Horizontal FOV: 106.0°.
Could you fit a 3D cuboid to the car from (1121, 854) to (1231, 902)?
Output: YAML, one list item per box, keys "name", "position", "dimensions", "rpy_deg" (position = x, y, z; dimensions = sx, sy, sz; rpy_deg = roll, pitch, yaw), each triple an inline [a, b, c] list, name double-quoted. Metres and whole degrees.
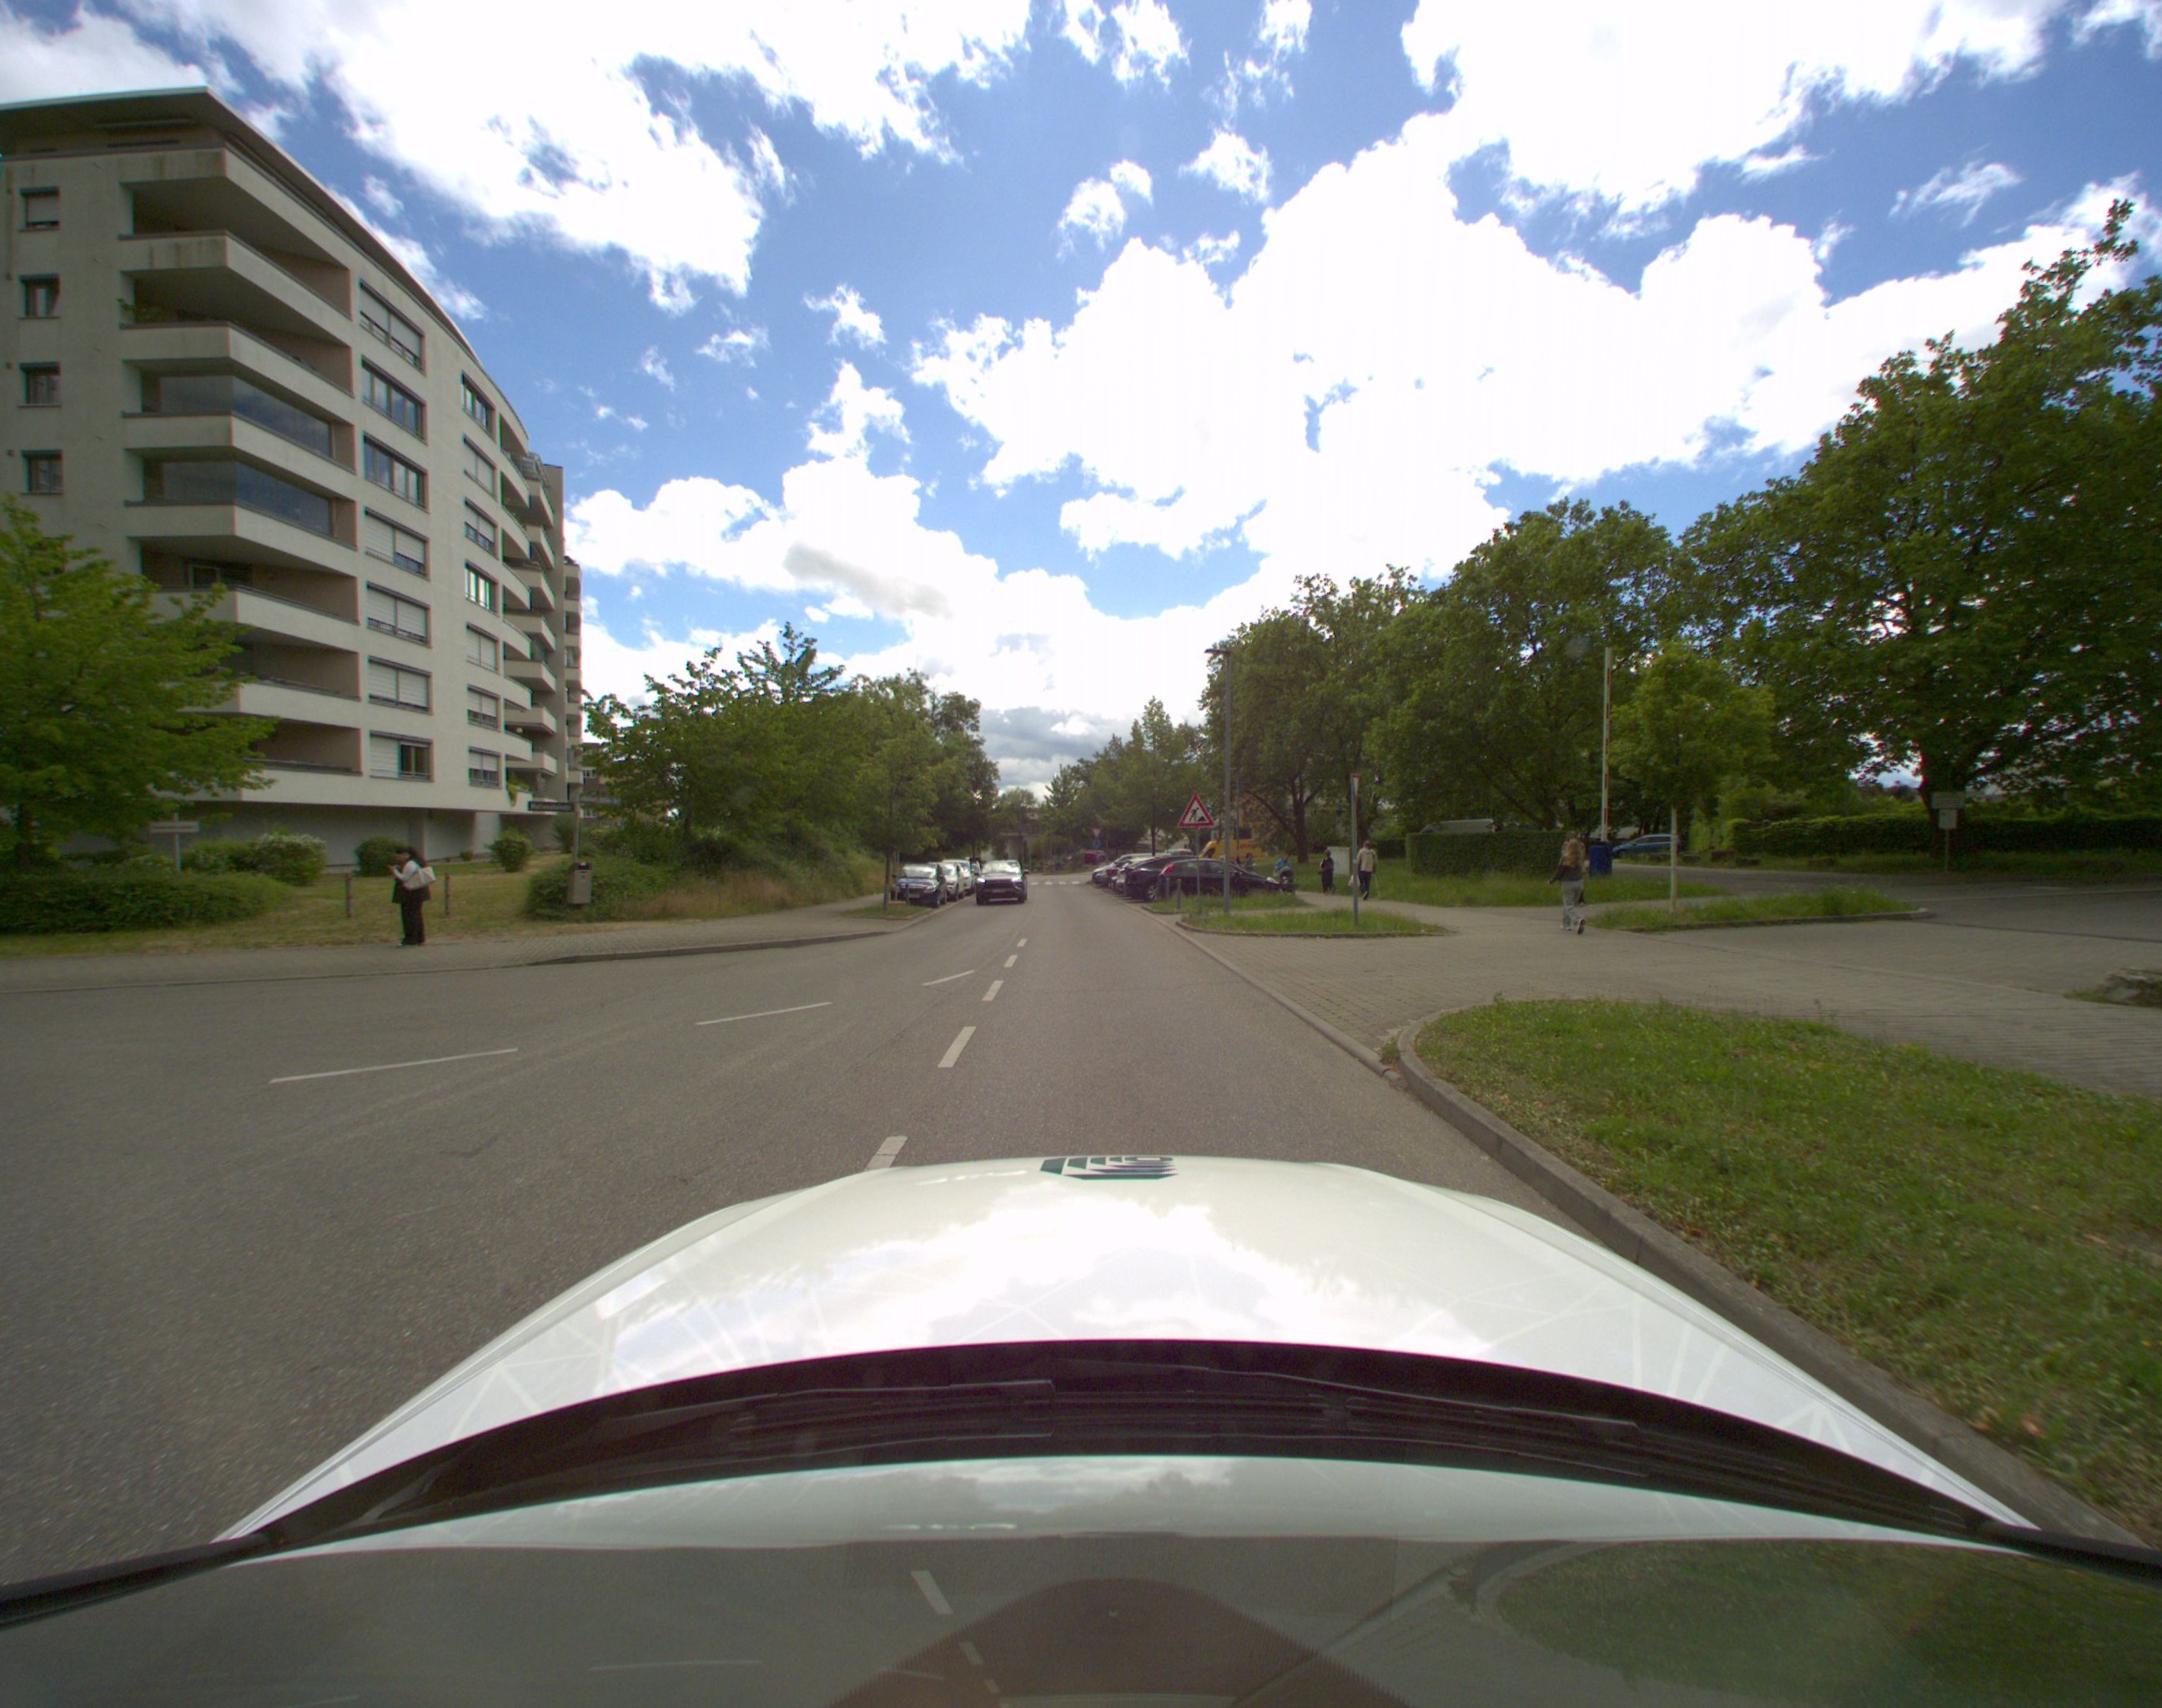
- name: "car"
  position: [3.296, 0.832, 28.650]
  dimensions: [3.659, 1.574, 1.593]
  rpy_deg: [-1, -1, -1]

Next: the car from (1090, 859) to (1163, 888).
- name: "car"
  position: [2.453, 1.063, 44.928]
  dimensions: [3.815, 1.371, 1.841]
  rpy_deg: [-3, -1, -3]

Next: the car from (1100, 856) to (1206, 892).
- name: "car"
  position: [3.287, 0.902, 37.801]
  dimensions: [4.571, 1.492, 1.947]
  rpy_deg: [-2, -1, -7]

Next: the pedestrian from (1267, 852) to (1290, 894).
- name: "pedestrian"
  position: [7.049, 0.678, 29.139]
  dimensions: [0.617, 1.468, 0.735]
  rpy_deg: [0, 0, -2]

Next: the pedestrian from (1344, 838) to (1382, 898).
- name: "pedestrian"
  position: [8.525, 0.410, 24.621]
  dimensions: [0.829, 1.793, 0.877]
  rpy_deg: [0, 0, -2]

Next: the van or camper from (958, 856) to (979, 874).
- name: "van or camper"
  position: [-16.617, 1.628, 120.072]
  dimensions: [2.000, 2.523, 5.434]
  rpy_deg: [-3, -1, -19]

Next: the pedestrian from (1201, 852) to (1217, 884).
- name: "pedestrian"
  position: [6.752, 0.741, 43.051]
  dimensions: [0.687, 1.657, 0.599]
  rpy_deg: [0, 0, -4]

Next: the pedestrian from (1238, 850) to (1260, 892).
- name: "pedestrian"
  position: [7.304, 0.733, 35.362]
  dimensions: [0.737, 1.793, 0.877]
  rpy_deg: [0, 0, -2]

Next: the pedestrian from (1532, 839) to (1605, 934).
- name: "pedestrian"
  position: [8.590, 0.548, 14.373]
  dimensions: [0.686, 1.621, 0.930]
  rpy_deg: [0, 0, -5]

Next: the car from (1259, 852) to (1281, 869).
- name: "car"
  position: [19.302, 0.642, 83.105]
  dimensions: [1.561, 1.659, 3.782]
  rpy_deg: [-3, 0, 4]

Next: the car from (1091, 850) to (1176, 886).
- name: "car"
  position: [3.036, 0.807, 47.938]
  dimensions: [4.763, 1.831, 1.841]
  rpy_deg: [-3, -1, -3]

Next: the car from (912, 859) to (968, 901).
- name: "car"
  position: [-5.781, 1.028, 33.803]
  dimensions: [1.685, 1.511, 4.227]
  rpy_deg: [2, 0, -2]

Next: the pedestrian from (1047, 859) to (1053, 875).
- name: "pedestrian"
  position: [-3.278, 1.397, 86.318]
  dimensions: [0.655, 1.722, 0.740]
  rpy_deg: [0, 0, 2]

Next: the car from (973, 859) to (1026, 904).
- name: "car"
  position: [-3.195, 1.001, 31.711]
  dimensions: [1.894, 1.582, 4.158]
  rpy_deg: [-1, 0, -7]

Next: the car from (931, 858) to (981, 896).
- name: "car"
  position: [-5.974, 1.056, 39.446]
  dimensions: [1.802, 1.664, 4.433]
  rpy_deg: [2, 0, -2]

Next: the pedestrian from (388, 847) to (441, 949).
- name: "pedestrian"
  position: [-10.997, 0.699, 13.453]
  dimensions: [0.637, 1.610, 0.711]
  rpy_deg: [-2, 3, -39]

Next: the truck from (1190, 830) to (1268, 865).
- name: "truck"
  position: [14.175, -0.575, 78.337]
  dimensions: [6.786, 2.703, 2.471]
  rpy_deg: [-4, -5, -3]

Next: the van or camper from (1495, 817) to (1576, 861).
- name: "van or camper"
  position: [29.825, -0.936, 53.478]
  dimensions: [4.422, 2.798, 2.128]
  rpy_deg: [0, 0, 34]

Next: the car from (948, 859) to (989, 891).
- name: "car"
  position: [-6.203, 1.124, 45.367]
  dimensions: [1.794, 1.615, 4.474]
  rpy_deg: [2, 0, -2]

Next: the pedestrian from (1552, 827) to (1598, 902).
- name: "pedestrian"
  position: [11.457, 0.244, 18.910]
  dimensions: [0.651, 1.711, 0.707]
  rpy_deg: [0, 0, 4]

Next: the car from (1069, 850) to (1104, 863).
- name: "car"
  position: [0.741, 0.319, 104.848]
  dimensions: [4.528, 1.668, 1.944]
  rpy_deg: [0, 0, 0]

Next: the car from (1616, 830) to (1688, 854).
- name: "car"
  position: [38.897, -0.815, 55.578]
  dimensions: [3.948, 1.574, 1.777]
  rpy_deg: [0, 0, 33]

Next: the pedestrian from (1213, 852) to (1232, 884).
- name: "pedestrian"
  position: [7.475, 0.749, 43.092]
  dimensions: [0.867, 1.657, 0.592]
  rpy_deg: [0, 0, -4]

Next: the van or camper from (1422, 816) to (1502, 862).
- name: "van or camper"
  position: [23.961, -0.883, 51.219]
  dimensions: [4.423, 2.798, 2.128]
  rpy_deg: [0, 0, 29]

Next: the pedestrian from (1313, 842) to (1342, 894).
- name: "pedestrian"
  position: [8.571, 0.485, 28.327]
  dimensions: [0.737, 1.793, 0.877]
  rpy_deg: [0, 0, -2]

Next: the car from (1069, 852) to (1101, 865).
- name: "car"
  position: [0.434, 0.517, 94.650]
  dimensions: [3.635, 1.439, 1.685]
  rpy_deg: [0, 0, 3]

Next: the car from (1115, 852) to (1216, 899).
- name: "car"
  position: [3.187, 0.788, 31.356]
  dimensions: [3.659, 1.647, 1.851]
  rpy_deg: [-2, 0, -1]

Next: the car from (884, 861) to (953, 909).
- name: "car"
  position: [-5.654, 1.027, 28.776]
  dimensions: [1.685, 1.487, 3.950]
  rpy_deg: [2, 0, -2]

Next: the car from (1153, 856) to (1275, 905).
- name: "car"
  position: [4.215, 0.832, 26.246]
  dimensions: [3.659, 1.498, 1.645]
  rpy_deg: [0, 0, -1]

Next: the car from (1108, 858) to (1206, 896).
- name: "car"
  position: [3.188, 0.950, 34.206]
  dimensions: [3.969, 1.519, 1.886]
  rpy_deg: [0, -1, 4]

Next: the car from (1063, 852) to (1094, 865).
- name: "car"
  position: [-0.266, 0.564, 99.935]
  dimensions: [3.635, 1.498, 1.685]
  rpy_deg: [0, 0, 3]

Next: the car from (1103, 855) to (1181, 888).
- name: "car"
  position: [3.110, 0.898, 42.377]
  dimensions: [3.815, 1.520, 1.910]
  rpy_deg: [-3, -1, -3]

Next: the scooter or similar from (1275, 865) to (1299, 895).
- name: "scooter or similar"
  position: [7.134, 0.899, 28.260]
  dimensions: [0.578, 1.023, 0.943]
  rpy_deg: [0, 0, -2]
